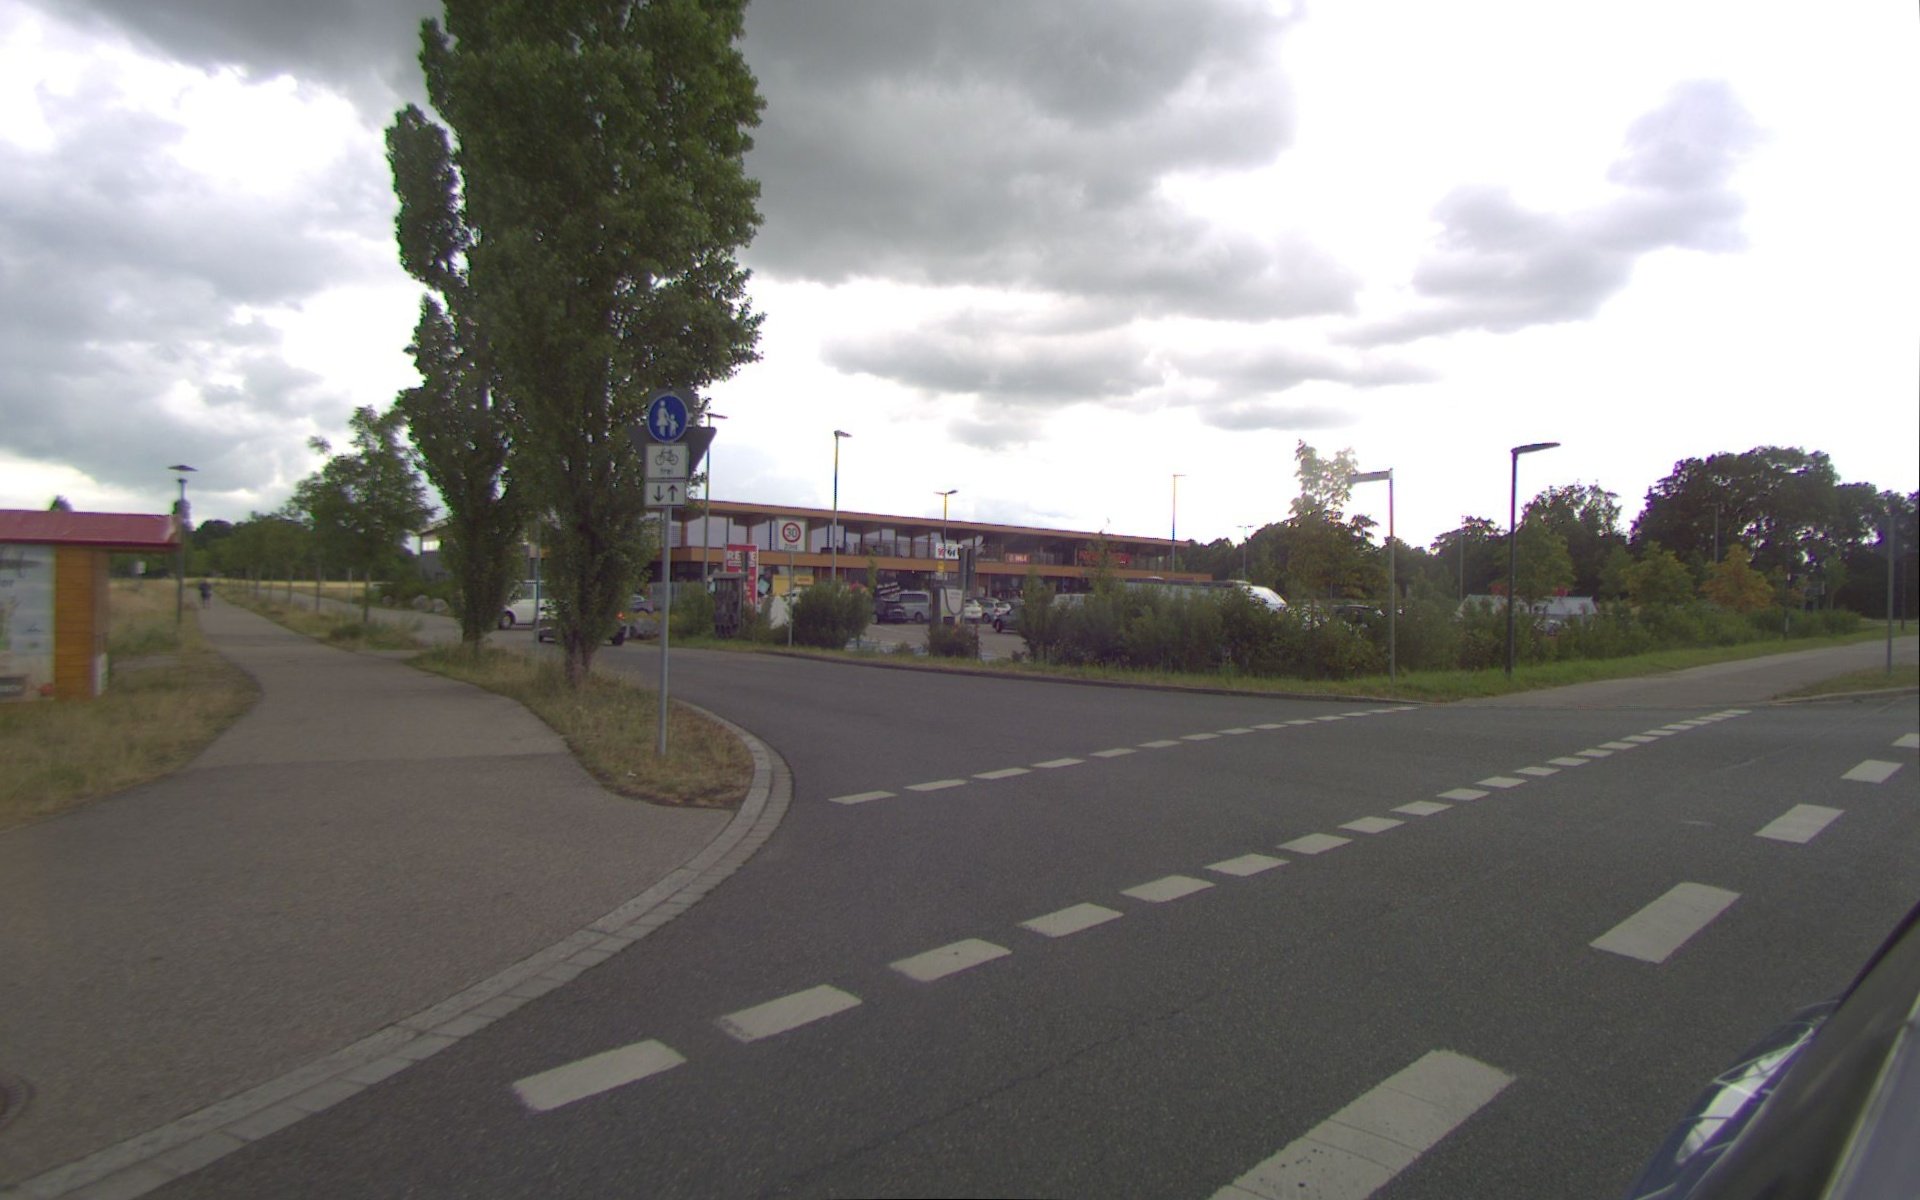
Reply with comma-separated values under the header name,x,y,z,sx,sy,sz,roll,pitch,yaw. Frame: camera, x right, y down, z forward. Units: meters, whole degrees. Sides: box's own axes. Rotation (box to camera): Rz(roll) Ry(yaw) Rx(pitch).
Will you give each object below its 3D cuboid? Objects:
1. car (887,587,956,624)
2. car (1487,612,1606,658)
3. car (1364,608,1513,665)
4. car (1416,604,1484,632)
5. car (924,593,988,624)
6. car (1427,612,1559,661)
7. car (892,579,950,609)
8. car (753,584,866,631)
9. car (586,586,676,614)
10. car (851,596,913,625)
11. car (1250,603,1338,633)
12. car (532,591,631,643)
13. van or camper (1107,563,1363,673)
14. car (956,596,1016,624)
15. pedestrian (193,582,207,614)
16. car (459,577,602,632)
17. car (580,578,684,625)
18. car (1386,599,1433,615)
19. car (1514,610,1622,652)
name,x,y,z,sx,sy,sz,roll,pitch,yaw
car,-2.317,0.277,59.637,2.004,1.935,3.900,1,2,-42
car,23.420,1.357,40.524,1.647,1.557,3.763,1,2,-41
car,16.536,1.212,35.099,2.044,1.617,4.154,1,2,-42
car,31.565,1.131,65.231,1.723,1.551,3.556,1,2,-41
car,-0.253,0.506,62.148,2.002,1.627,3.747,1,2,-40
car,20.459,1.358,38.954,1.647,1.557,4.154,1,2,-41
car,-2.628,-0.395,67.115,1.908,1.771,4.001,1,2,-35
car,-7.126,0.338,48.182,4.867,1.930,2.103,3,2,12
car,-17.566,-0.008,54.092,4.180,1.365,1.837,1,2,-39
car,-4.442,0.563,57.116,1.744,1.399,3.468,1,2,-42
car,17.684,0.924,53.728,1.965,1.460,3.994,1,1,-41
car,-11.200,0.466,29.769,1.796,1.406,4.389,1,0,-33
van or camper,7.275,0.341,27.511,2.242,2.494,6.477,1,2,-42
car,1.605,0.596,63.689,1.761,1.495,3.747,1,2,-40
pedestrian,-43.457,-0.115,57.893,0.589,1.783,0.483,1,2,-41
car,-17.569,0.133,41.673,1.986,2.038,5.172,3,2,33
car,-15.556,0.071,48.092,4.209,2.038,1.999,1,2,-39
car,44.326,0.665,99.719,3.916,1.377,1.705,2,2,-13
car,27.015,1.336,45.040,1.647,1.557,3.763,1,2,-41
